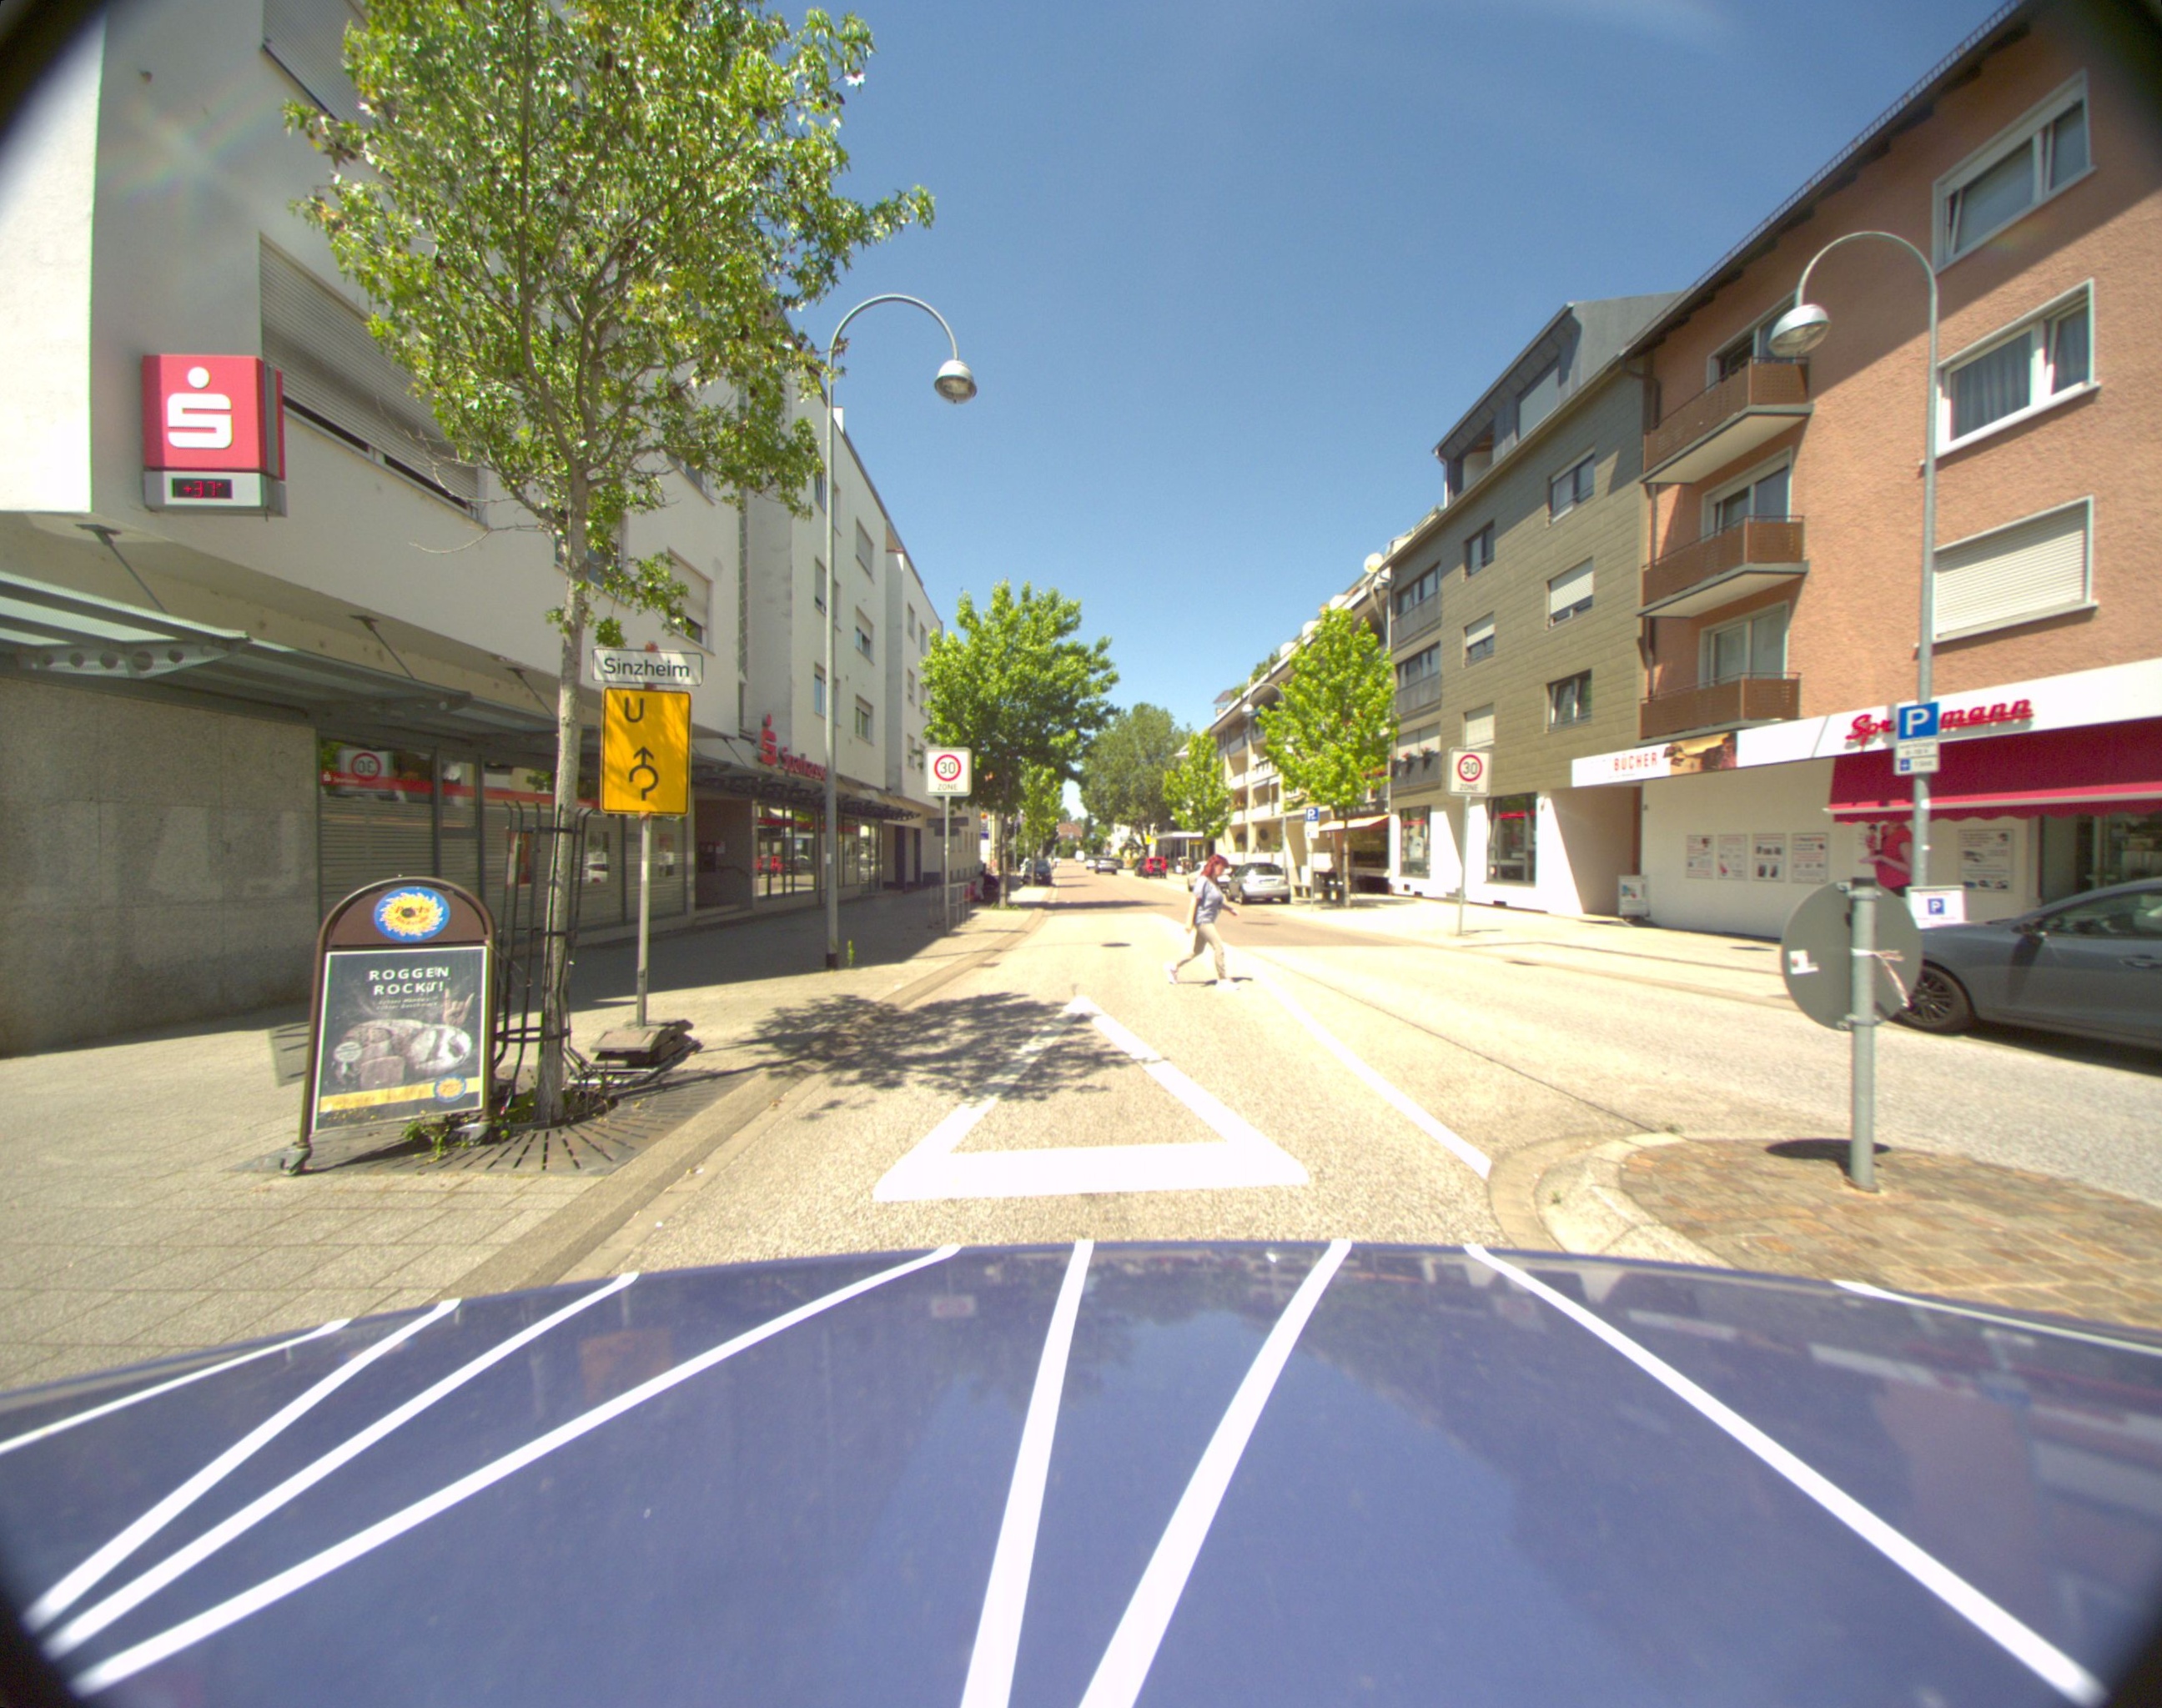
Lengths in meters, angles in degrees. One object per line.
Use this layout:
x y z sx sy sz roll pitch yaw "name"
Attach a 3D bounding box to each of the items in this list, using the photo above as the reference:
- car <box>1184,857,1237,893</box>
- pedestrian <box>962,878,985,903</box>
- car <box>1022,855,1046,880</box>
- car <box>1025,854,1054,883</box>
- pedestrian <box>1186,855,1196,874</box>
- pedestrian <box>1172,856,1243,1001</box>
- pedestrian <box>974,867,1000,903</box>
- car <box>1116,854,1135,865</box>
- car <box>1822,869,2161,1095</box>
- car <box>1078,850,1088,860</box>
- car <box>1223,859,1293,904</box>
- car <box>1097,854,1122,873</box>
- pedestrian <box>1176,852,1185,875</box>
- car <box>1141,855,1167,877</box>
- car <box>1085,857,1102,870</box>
6.333 0.996 37.578 1.699 1.583 4.299 -5 0 -1 "car"
-3.874 1.303 27.425 0.678 0.847 0.538 1 1 13 "pedestrian"
-3.353 0.937 54.131 1.693 1.712 4.132 0 0 -4 "car"
-2.672 0.905 48.417 1.693 1.712 3.998 2 0 -4 "car"
8.790 0.861 60.507 0.778 1.490 0.698 0 0 10 "pedestrian"
1.432 0.830 8.695 0.734 1.600 0.559 0 0 2 "pedestrian"
-3.308 1.067 26.686 0.761 1.233 0.538 1 1 13 "pedestrian"
5.914 0.731 102.085 1.999 1.412 3.998 0 0 -5 "car"
8.396 0.924 5.620 1.672 1.477 4.059 -3 0 -4 "car"
0.475 0.220 186.981 2.232 2.452 5.248 0 0 -1 "car"
6.196 0.932 27.001 1.626 1.465 3.548 0 0 -1 "car"
2.733 0.938 74.253 1.906 1.744 4.755 1 0 -4 "car"
7.884 0.726 60.262 0.667 1.794 0.686 0 0 14 "pedestrian"
5.839 0.947 61.039 1.645 1.652 3.370 -2 0 -1 "car"
1.602 1.242 96.776 1.776 1.623 4.297 0 0 -5 "car"
